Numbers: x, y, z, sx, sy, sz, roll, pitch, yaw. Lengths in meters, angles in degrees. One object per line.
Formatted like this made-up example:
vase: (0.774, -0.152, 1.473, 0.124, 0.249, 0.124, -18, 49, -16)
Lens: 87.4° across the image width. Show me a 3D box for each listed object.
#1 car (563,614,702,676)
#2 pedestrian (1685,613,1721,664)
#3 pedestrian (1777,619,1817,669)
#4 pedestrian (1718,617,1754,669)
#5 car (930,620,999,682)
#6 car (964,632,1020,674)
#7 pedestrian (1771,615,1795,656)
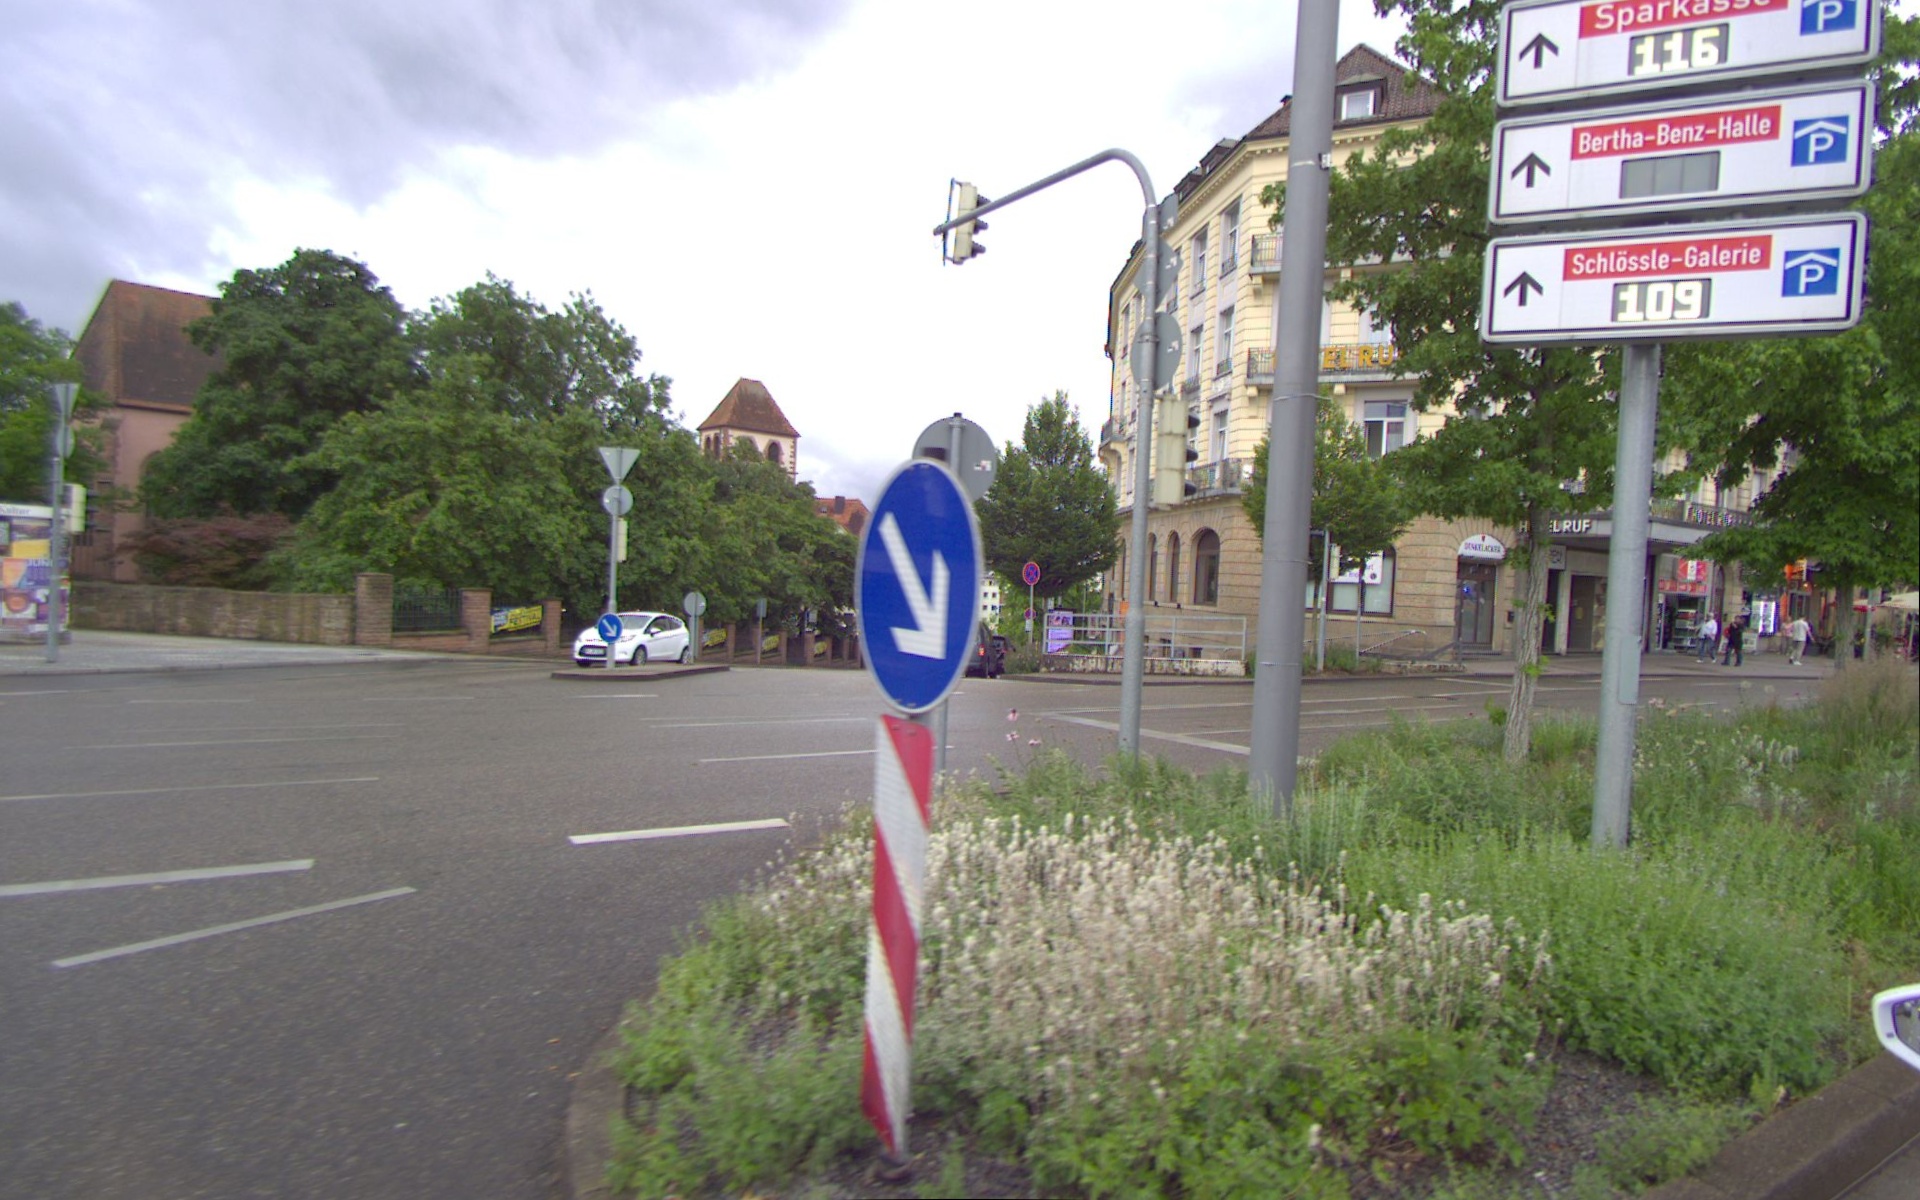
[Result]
car: (-8.356, 1.134, 26.011, 1.602, 1.416, 4.003, 1, -1, 12)
pedestrian: (25.047, 1.285, 33.855, 0.797, 1.685, 0.679, 2, -1, -28)
pedestrian: (30.716, 1.626, 36.863, 0.742, 1.836, 0.875, 2, -4, -31)
pedestrian: (25.613, 1.410, 33.156, 0.798, 1.685, 0.678, 2, -1, -31)
car: (0.201, 1.586, 32.510, 1.602, 1.782, 4.003, 1, 0, 9)
car: (1.289, 2.020, 38.881, 1.602, 1.416, 4.003, 1, 0, 9)
pedestrian: (34.454, 1.492, 42.059, 0.532, 1.685, 0.661, 2, -1, -39)
